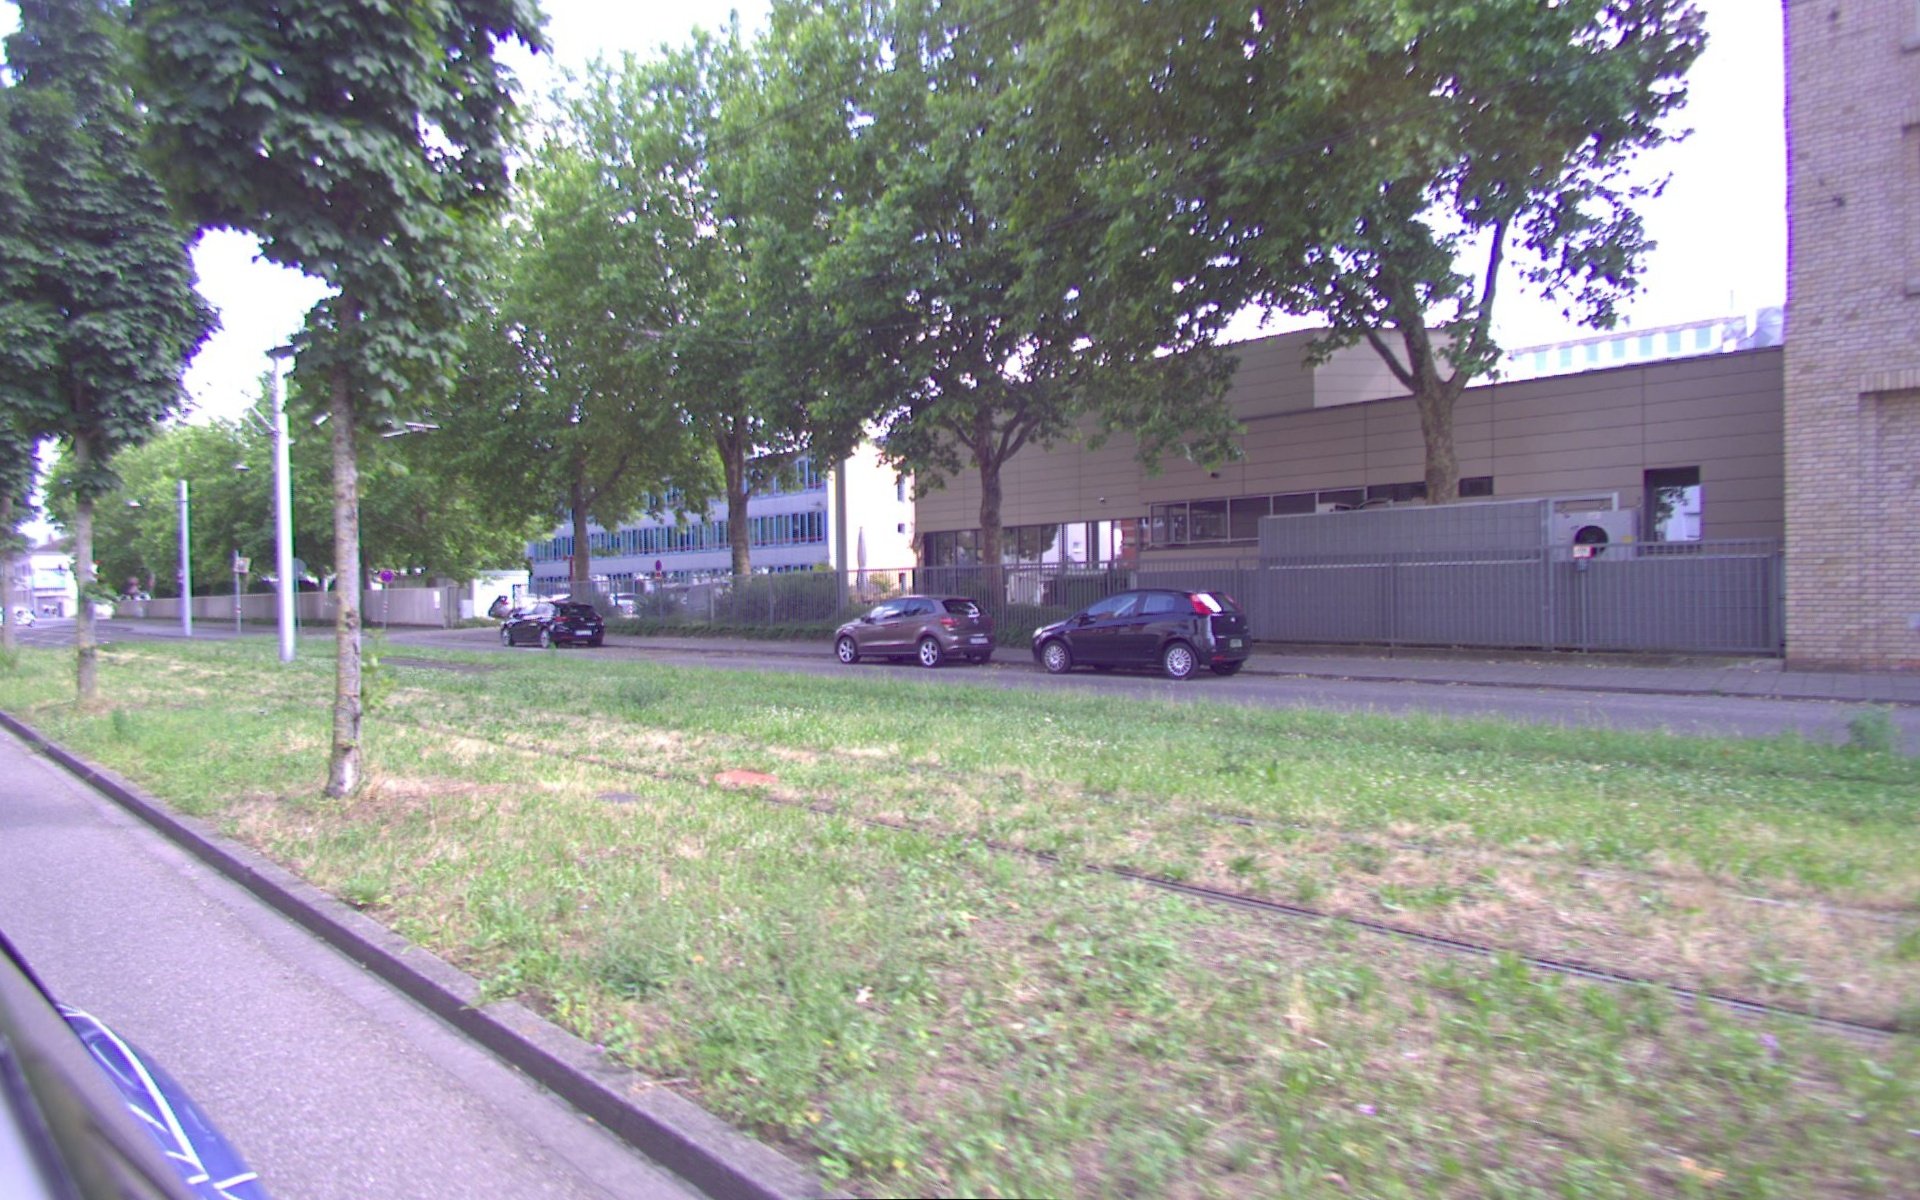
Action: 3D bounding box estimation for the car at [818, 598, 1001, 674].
[{"bbox_3d":[-1.129,0.711,21.274,3.901,1.436,1.538,-1,0,42],"label":"car"}]

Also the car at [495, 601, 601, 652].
[{"bbox_3d":[-12.962,0.810,31.766,4.001,1.475,1.580,-1,0,44],"label":"car"}]

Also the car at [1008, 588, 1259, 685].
[{"bbox_3d":[2.910,0.568,17.567,4.002,1.464,1.782,-1,0,45],"label":"car"}]

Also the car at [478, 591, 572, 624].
[{"bbox_3d":[-22.150,0.359,51.579,1.999,1.630,3.946,0,0,40],"label":"car"}]

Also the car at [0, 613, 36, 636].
[{"bbox_3d":[-71.006,1.852,75.545,1.771,1.541,4.054,-2,1,-24],"label":"car"}]
